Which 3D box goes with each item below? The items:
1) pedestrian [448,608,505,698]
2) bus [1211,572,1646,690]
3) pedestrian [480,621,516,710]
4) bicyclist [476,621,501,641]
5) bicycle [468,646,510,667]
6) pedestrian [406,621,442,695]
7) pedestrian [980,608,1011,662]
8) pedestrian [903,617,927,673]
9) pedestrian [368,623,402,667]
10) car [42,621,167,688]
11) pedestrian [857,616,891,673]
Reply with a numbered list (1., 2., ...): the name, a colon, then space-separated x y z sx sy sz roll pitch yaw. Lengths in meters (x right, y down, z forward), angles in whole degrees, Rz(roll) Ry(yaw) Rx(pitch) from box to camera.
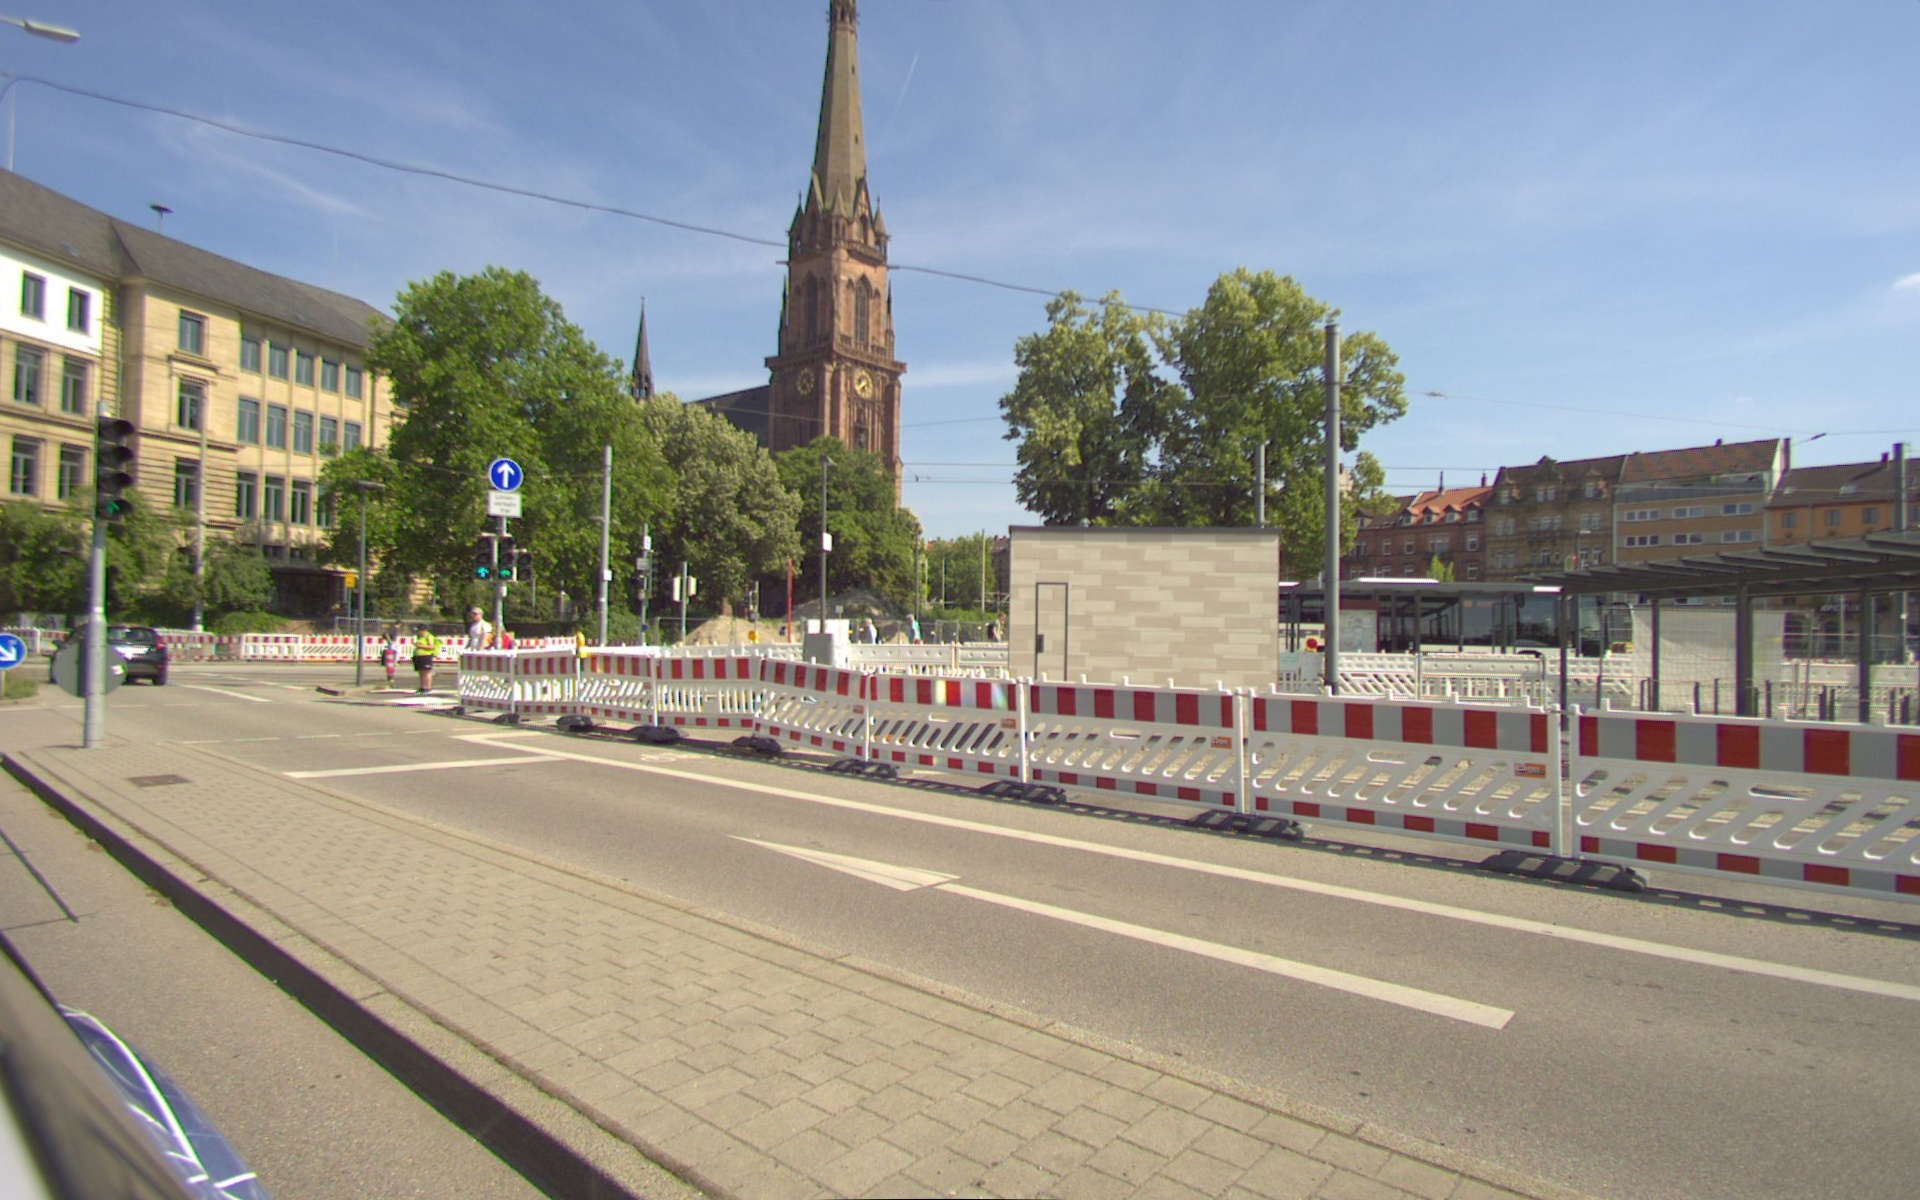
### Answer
1. pedestrian: -9.970 1.082 20.878 0.831 1.826 0.649 0 -2 4
2. bus: 14.770 0.974 32.896 12.503 3.516 2.857 1 -2 6
3. pedestrian: -8.674 1.218 18.999 0.686 1.628 0.346 -1 -3 42
4. bicyclist: -22.350 1.454 47.948 0.858 0.934 0.682 1 -2 2
5. bicycle: -22.290 2.667 47.907 1.643 0.954 0.701 1 -2 2
6. pedestrian: -11.694 1.247 22.078 0.656 1.555 0.424 -2 0 -29
7. pedestrian: 1.146 1.139 32.829 0.922 1.726 0.559 0 -2 -5
8. pedestrian: -1.331 1.310 29.796 0.576 1.628 0.691 0 -2 -13
9. pedestrian: -21.767 1.700 38.337 0.926 1.668 0.845 3 -3 -41
10. car: -20.230 1.254 23.879 3.816 1.462 1.648 -1 -4 42
11. pedestrian: -2.518 1.290 29.561 0.780 1.628 0.664 1 -2 -29
